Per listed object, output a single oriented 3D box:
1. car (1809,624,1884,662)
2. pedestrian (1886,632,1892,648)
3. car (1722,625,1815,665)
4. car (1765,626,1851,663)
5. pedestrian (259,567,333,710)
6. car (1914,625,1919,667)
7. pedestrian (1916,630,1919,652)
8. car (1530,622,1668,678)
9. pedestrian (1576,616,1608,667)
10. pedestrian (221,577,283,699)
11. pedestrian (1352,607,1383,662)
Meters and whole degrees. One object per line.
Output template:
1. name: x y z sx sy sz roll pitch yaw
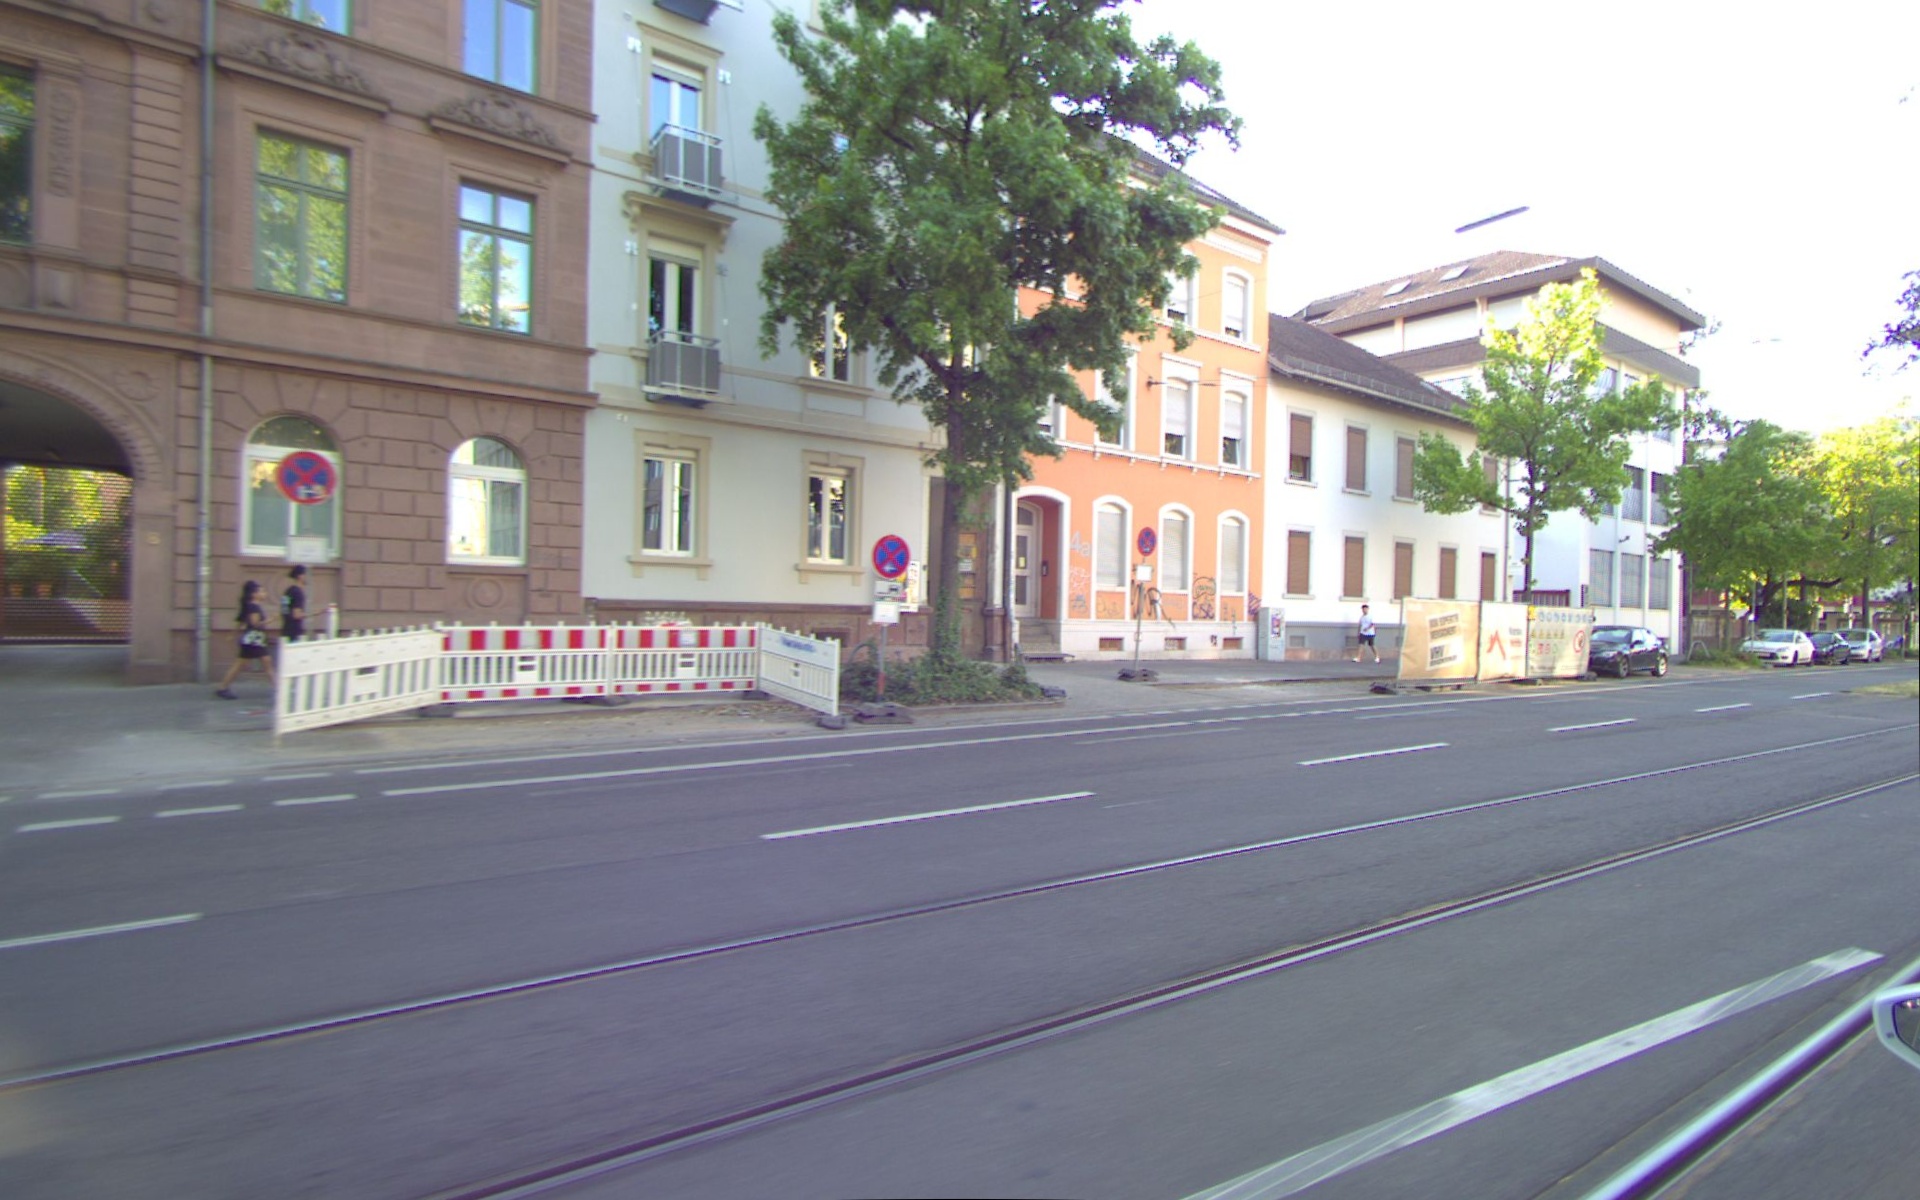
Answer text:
1. car: 42.625 2.048 48.282 4.140 1.711 1.978 2 -1 -38
2. pedestrian: 73.190 3.150 79.167 0.316 1.230 0.301 1 -1 -40
3. car: 32.608 1.792 40.482 4.366 1.490 1.978 2 -1 -38
4. car: 37.249 1.908 44.072 4.608 1.495 1.978 2 -1 -38
5. pedestrian: -8.083 0.450 12.226 0.682 1.676 0.563 1 2 -37
6. car: 40.706 1.895 40.977 4.271 1.711 1.978 2 -1 -38
7. pedestrian: 73.333 3.135 76.484 1.025 1.684 0.702 1 -1 -40
8. car: 19.131 1.455 30.017 4.681 1.534 1.979 2 -1 -37
9. pedestrian: 21.088 1.388 33.522 0.725 1.642 0.630 2 1 -38
10. pedestrian: -8.928 0.470 12.672 0.602 1.481 0.571 1 2 -37
11. pedestrian: 12.017 1.002 29.633 0.633 1.591 0.589 1 0 -38
